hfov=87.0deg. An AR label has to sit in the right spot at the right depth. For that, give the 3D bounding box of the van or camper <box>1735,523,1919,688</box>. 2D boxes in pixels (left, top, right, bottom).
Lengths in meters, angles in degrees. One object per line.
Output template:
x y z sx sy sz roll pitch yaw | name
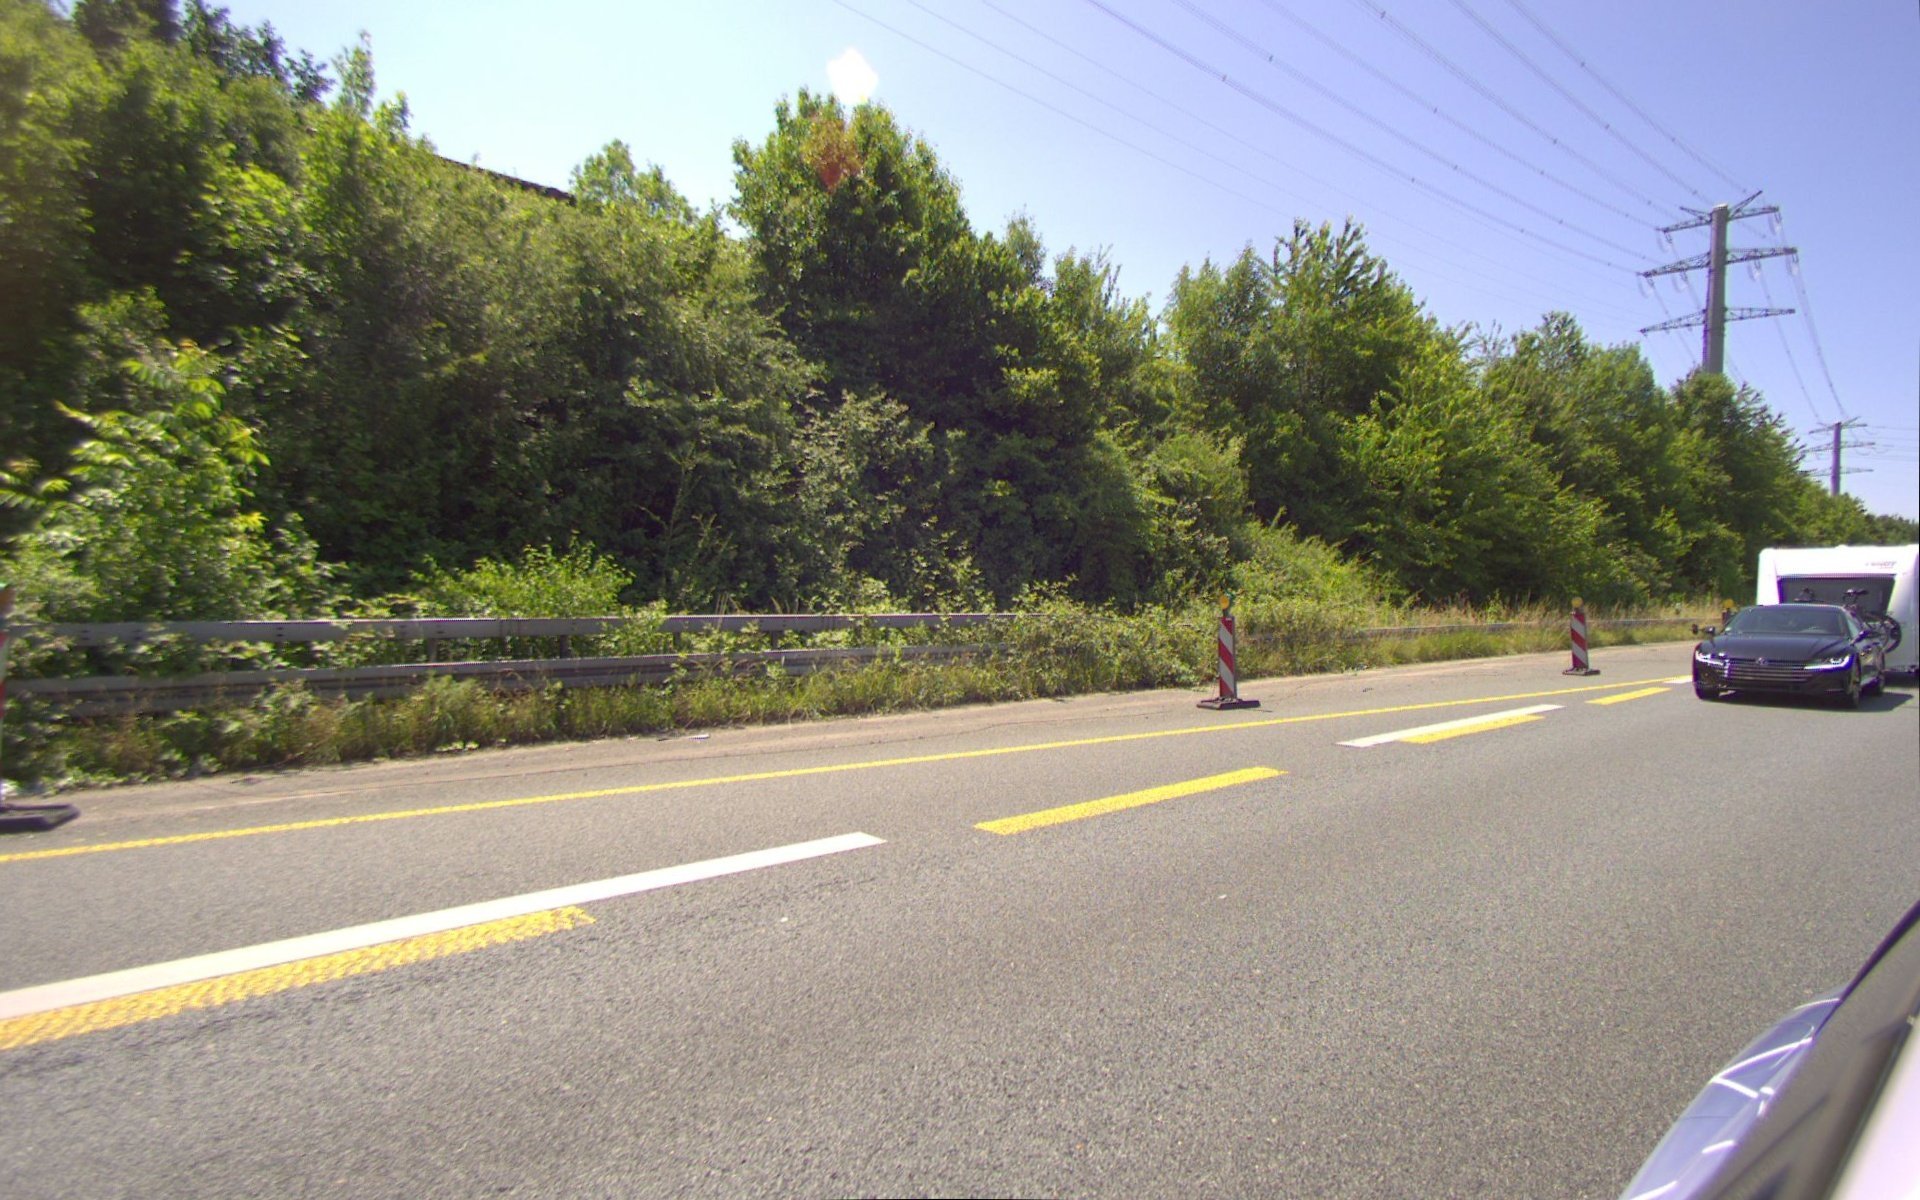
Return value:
17.400 0.068 19.451 8.271 2.597 2.430 0 0 -41 | van or camper

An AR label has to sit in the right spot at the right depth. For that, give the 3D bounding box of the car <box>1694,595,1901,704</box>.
12.726 0.641 15.295 4.136 1.425 1.799 0 0 -41 | car
